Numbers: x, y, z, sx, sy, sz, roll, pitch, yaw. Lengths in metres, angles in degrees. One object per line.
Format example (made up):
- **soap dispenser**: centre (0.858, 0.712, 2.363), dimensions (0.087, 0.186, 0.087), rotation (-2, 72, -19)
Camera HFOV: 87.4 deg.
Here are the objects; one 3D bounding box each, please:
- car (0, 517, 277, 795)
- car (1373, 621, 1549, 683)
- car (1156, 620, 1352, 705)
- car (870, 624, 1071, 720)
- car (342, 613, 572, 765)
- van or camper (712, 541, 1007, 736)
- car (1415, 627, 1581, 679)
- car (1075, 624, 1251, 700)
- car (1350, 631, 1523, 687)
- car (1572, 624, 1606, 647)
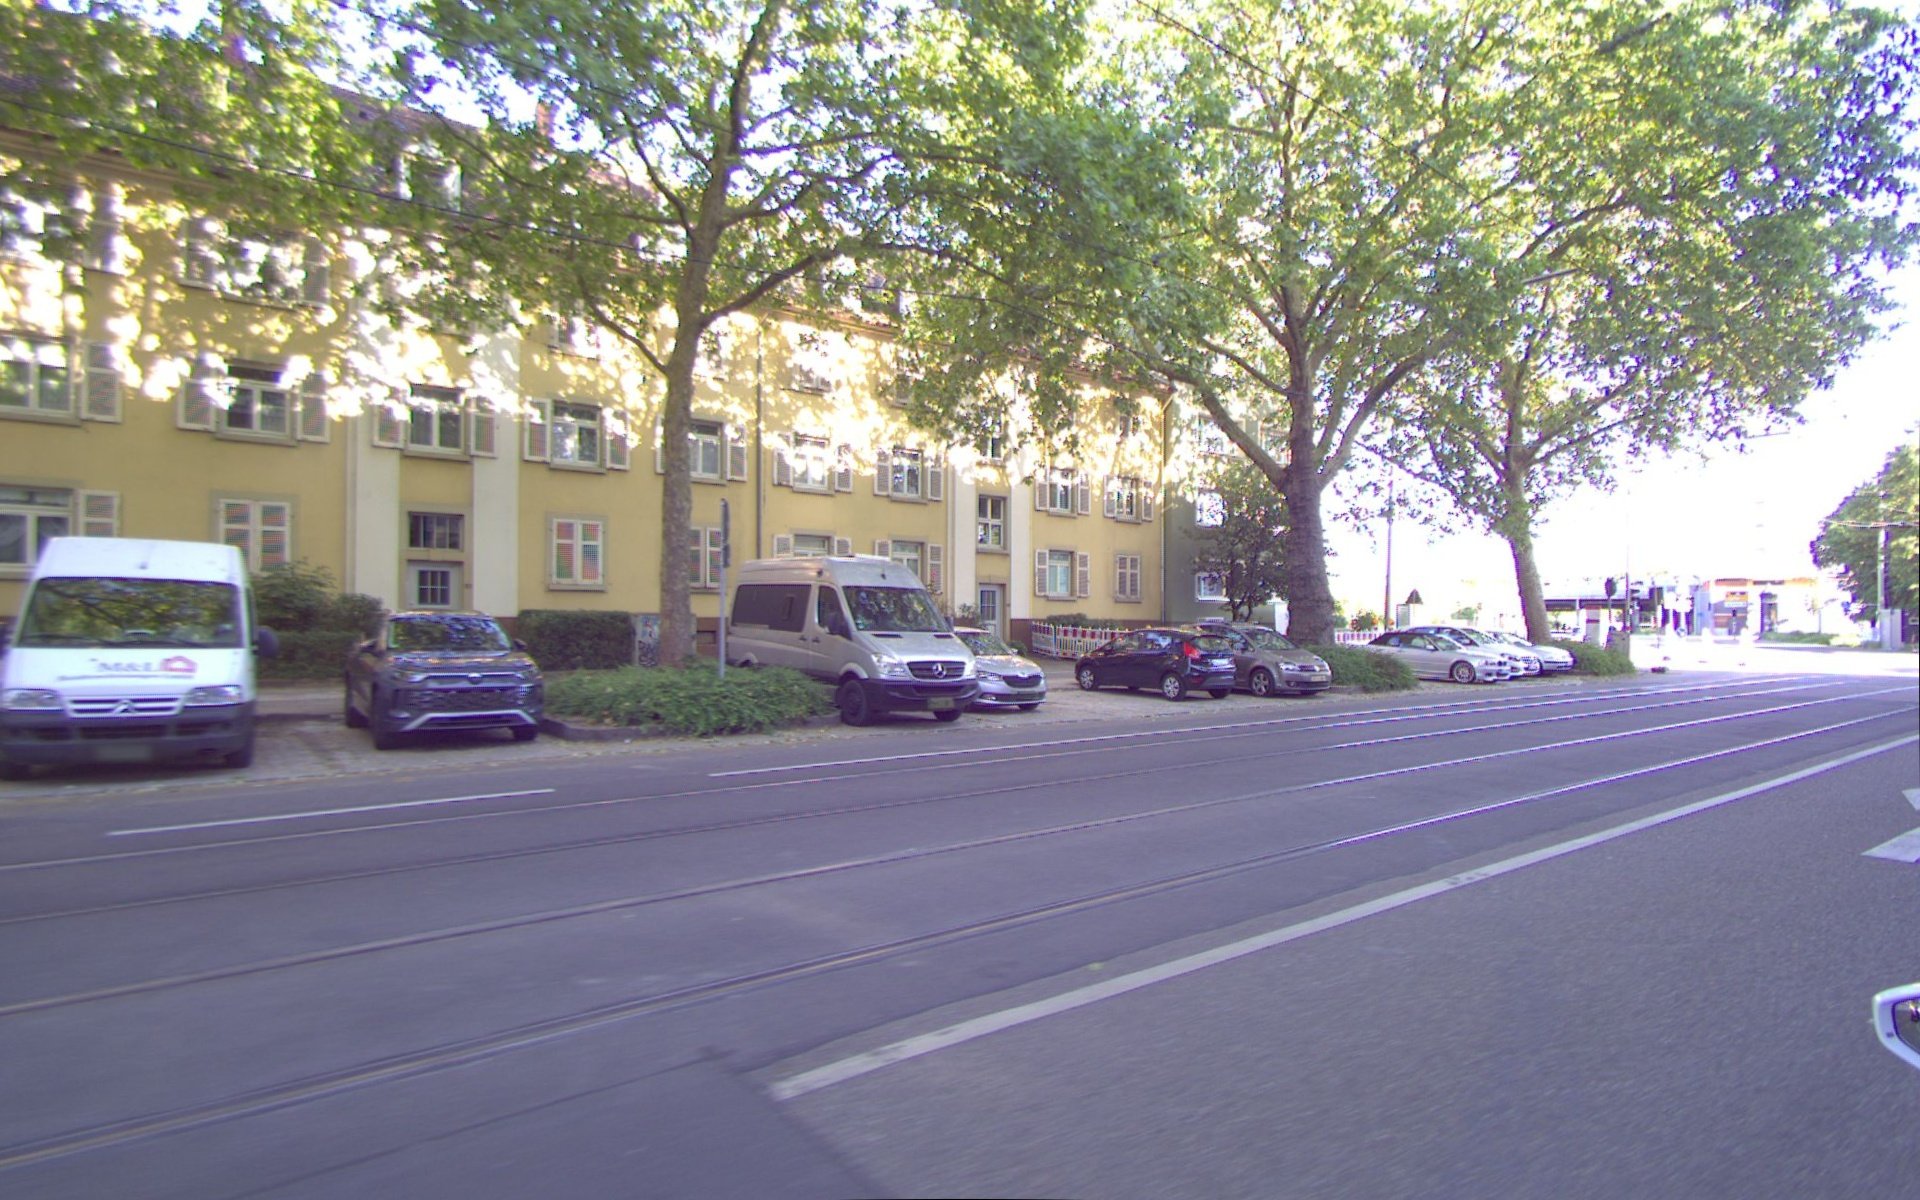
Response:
- **car**: centre (-9.198, 0.562, 11.527), dimensions (2.006, 2.407, 5.558), rotation (1, -2, -36)
- **car**: centre (15.341, 1.542, 31.017), dimensions (1.780, 1.640, 4.579), rotation (1, 0, -35)
- **car**: centre (6.673, 1.362, 23.220), dimensions (1.796, 1.627, 4.162), rotation (1, 0, -34)
- **car**: centre (0.084, 1.270, 18.992), dimensions (1.713, 1.489, 4.117), rotation (3, -1, -35)
- **car**: centre (-6.821, 1.015, 13.353), dimensions (1.952, 1.652, 4.530), rotation (1, -1, -37)
- **van or camper**: centre (-1.969, 0.555, 17.087), dimensions (2.208, 2.712, 6.067), rotation (1, -1, -36)
- **car**: centre (17.307, 1.665, 32.529), dimensions (1.659, 1.448, 4.482), rotation (1, 0, -35)
- **car**: centre (4.325, 1.276, 21.833), dimensions (1.726, 1.448, 3.539), rotation (1, -1, -36)
- **car**: centre (13.560, 1.628, 28.817), dimensions (1.711, 1.386, 4.212), rotation (1, 0, -36)
- **car**: centre (44.462, 2.485, 71.012), dimensions (1.800, 1.539, 3.882), rotation (2, 0, 35)
